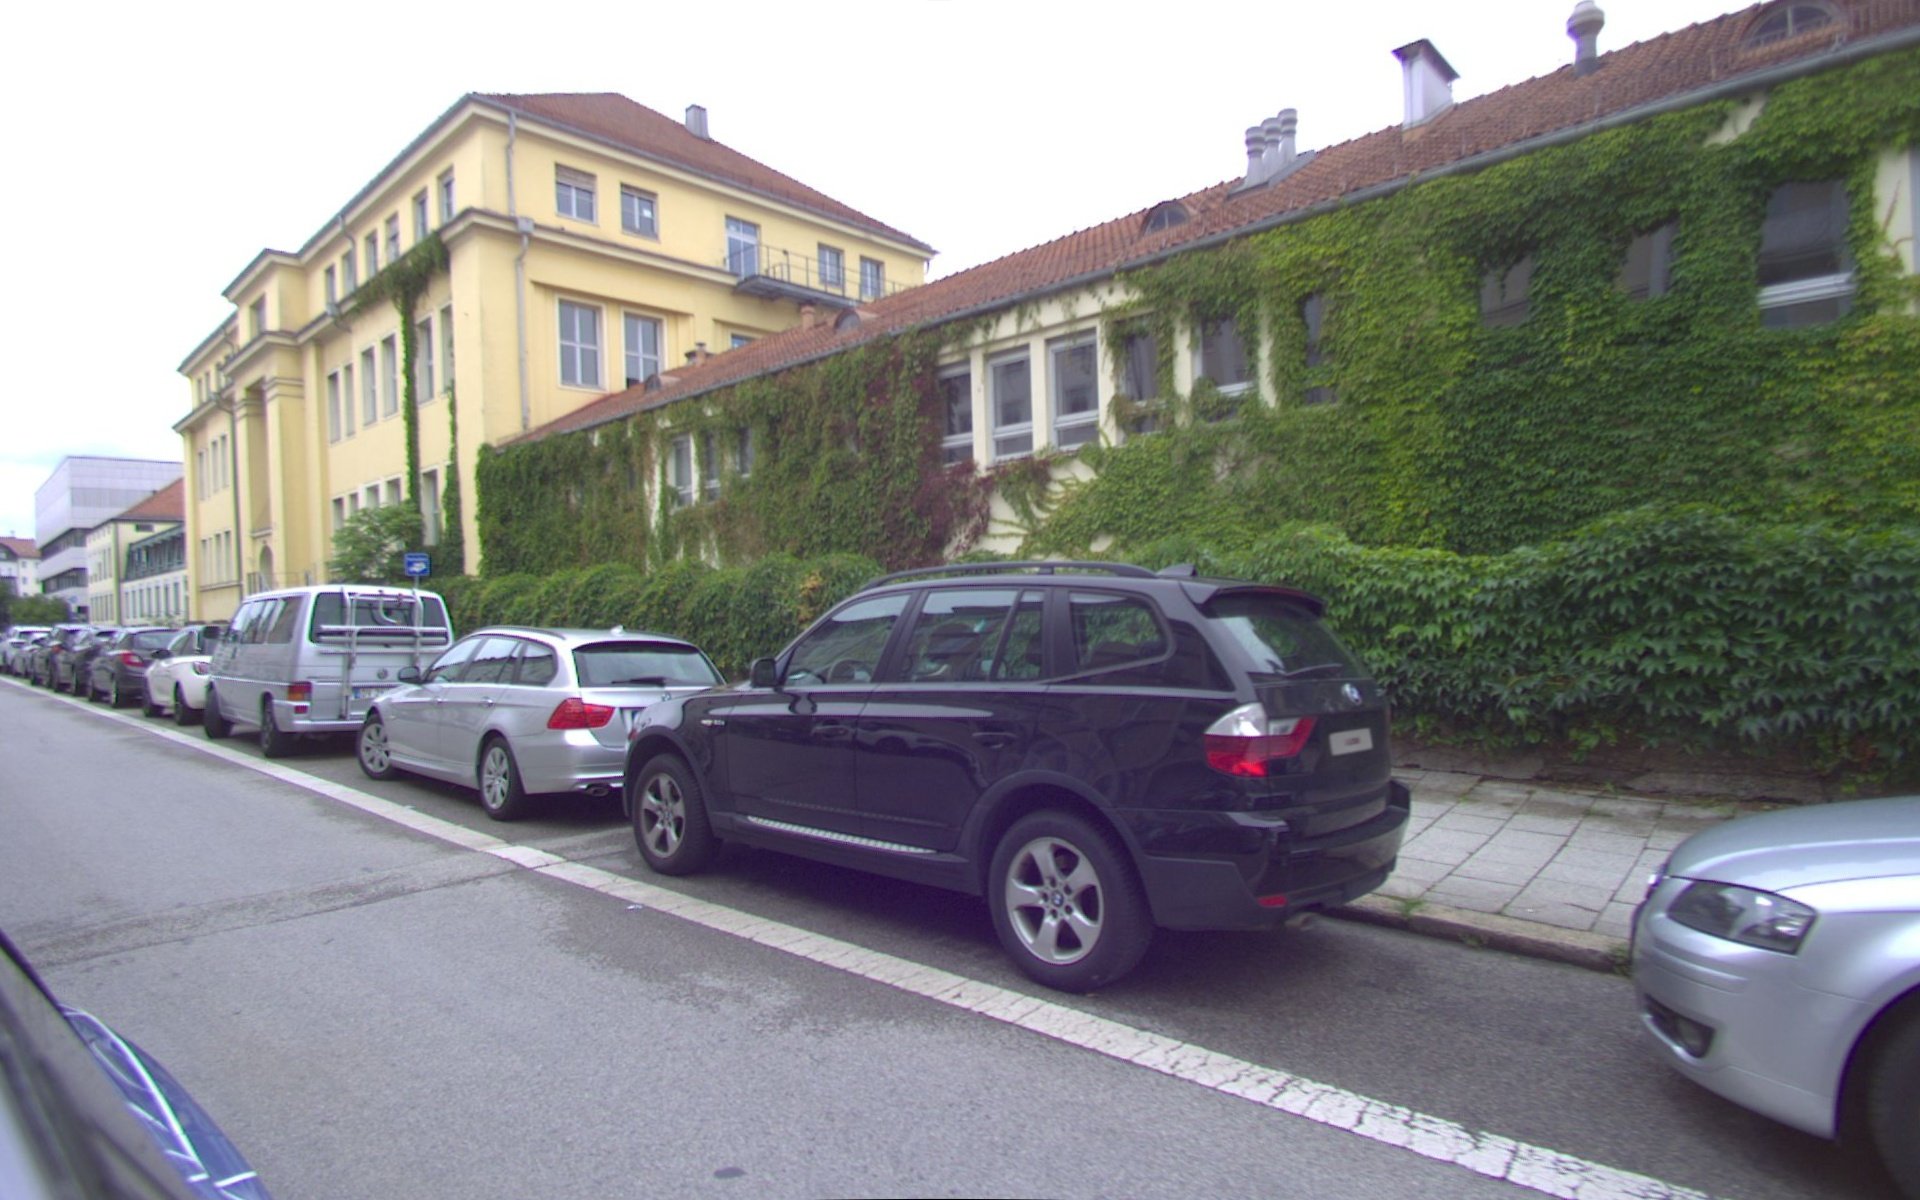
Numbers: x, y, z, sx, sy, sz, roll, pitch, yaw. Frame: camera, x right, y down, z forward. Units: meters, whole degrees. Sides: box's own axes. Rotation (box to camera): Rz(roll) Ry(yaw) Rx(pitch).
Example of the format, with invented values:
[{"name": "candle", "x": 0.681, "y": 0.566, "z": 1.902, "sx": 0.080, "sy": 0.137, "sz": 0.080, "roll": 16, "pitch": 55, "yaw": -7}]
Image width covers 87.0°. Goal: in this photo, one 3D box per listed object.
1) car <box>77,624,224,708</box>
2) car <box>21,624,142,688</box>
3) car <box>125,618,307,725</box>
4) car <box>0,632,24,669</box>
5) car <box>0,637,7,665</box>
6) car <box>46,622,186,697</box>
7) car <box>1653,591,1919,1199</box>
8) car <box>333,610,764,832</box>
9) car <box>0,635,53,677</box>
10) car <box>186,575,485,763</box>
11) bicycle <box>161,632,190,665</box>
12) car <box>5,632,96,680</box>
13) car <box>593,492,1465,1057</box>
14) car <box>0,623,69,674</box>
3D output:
[{"name": "car", "x": -15.706, "y": 1.220, "z": 19.573, "sx": 3.903, "sy": 1.467, "sz": 1.561, "roll": -2, "pitch": -3, "yaw": 42}, {"name": "car", "x": -22.890, "y": 1.438, "z": 26.320, "sx": 4.193, "sy": 1.550, "sz": 1.763, "roll": -2, "pitch": -4, "yaw": 41}, {"name": "car", "x": -11.851, "y": 1.073, "z": 16.045, "sx": 3.729, "sy": 1.504, "sz": 1.561, "roll": -2, "pitch": -3, "yaw": 42}, {"name": "car", "x": -40.405, "y": 2.081, "z": 42.201, "sx": 3.985, "sy": 1.507, "sz": 1.661, "roll": -2, "pitch": -4, "yaw": 43}, {"name": "car", "x": -49.818, "y": 2.571, "z": 51.338, "sx": 3.994, "sy": 1.409, "sz": 1.657, "roll": -2, "pitch": -4, "yaw": 41}, {"name": "car", "x": -19.128, "y": 1.296, "z": 22.870, "sx": 4.146, "sy": 1.550, "sz": 1.763, "roll": -2, "pitch": -3, "yaw": 41}, {"name": "car", "x": 3.760, "y": 0.677, "z": 1.773, "sx": 4.068, "sy": 1.388, "sz": 1.603, "roll": -2, "pitch": -3, "yaw": 40}, {"name": "car", "x": -3.711, "y": 0.860, "z": 8.681, "sx": 4.424, "sy": 1.433, "sz": 1.683, "roll": -2, "pitch": -3, "yaw": 43}, {"name": "car", "x": -36.798, "y": 2.143, "z": 39.443, "sx": 3.971, "sy": 1.516, "sz": 1.663, "roll": -2, "pitch": -1, "yaw": 41}, {"name": "car", "x": -7.864, "y": 0.793, "z": 12.528, "sx": 4.759, "sy": 1.890, "sz": 1.971, "roll": -2, "pitch": -4, "yaw": 44}, {"name": "bicycle", "x": -29.643, "y": 1.830, "z": 38.230, "sx": 1.562, "sy": 1.197, "sz": 0.570, "roll": -2, "pitch": 2, "yaw": 43}, {"name": "car", "x": -28.876, "y": 1.773, "z": 32.096, "sx": 3.893, "sy": 1.437, "sz": 1.662, "roll": -2, "pitch": -5, "yaw": 42}, {"name": "car", "x": -0.008, "y": 0.620, "z": 5.223, "sx": 4.423, "sy": 1.743, "sz": 1.602, "roll": -2, "pitch": -4, "yaw": 42}, {"name": "car", "x": -32.976, "y": 1.666, "z": 35.698, "sx": 4.353, "sy": 1.646, "sz": 1.663, "roll": -2, "pitch": 0, "yaw": 40}]
